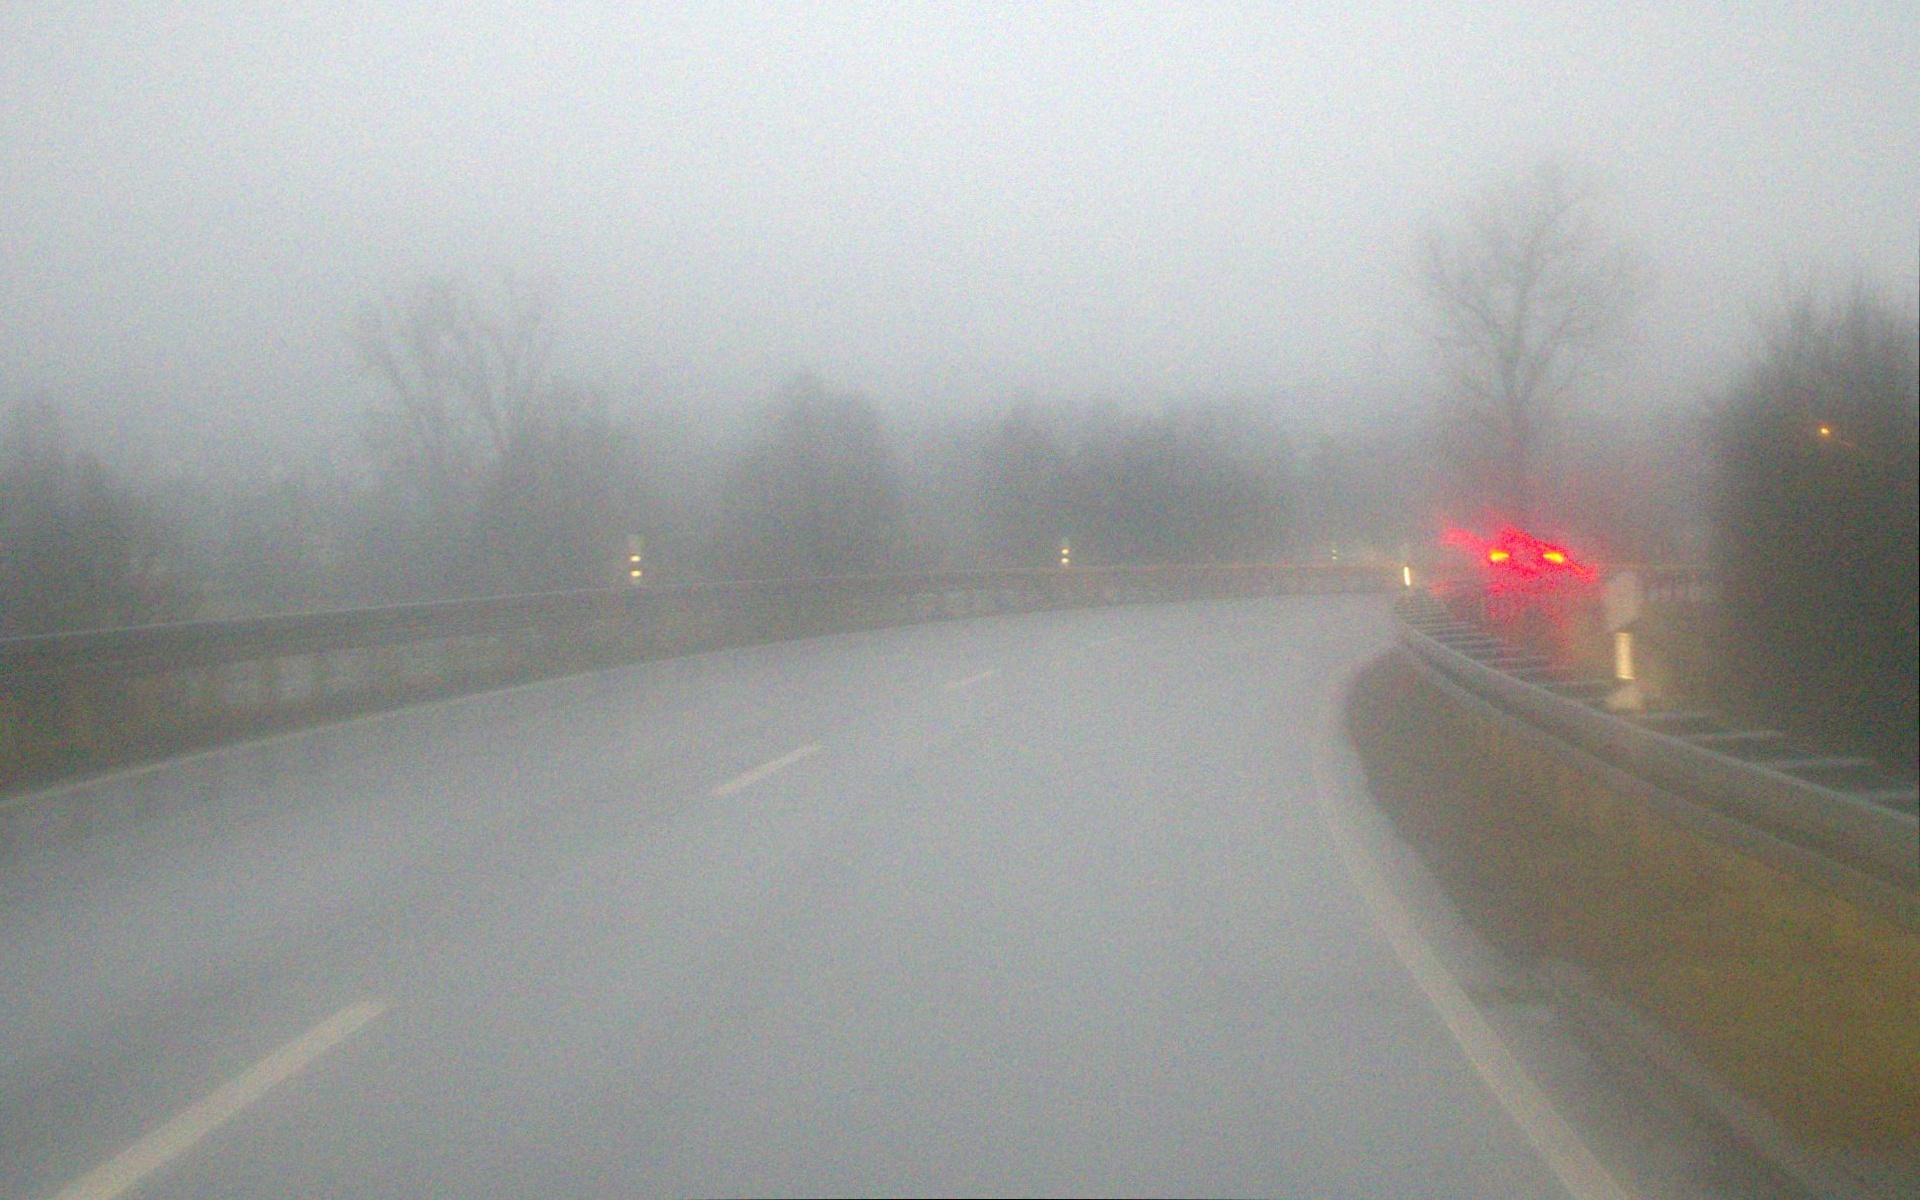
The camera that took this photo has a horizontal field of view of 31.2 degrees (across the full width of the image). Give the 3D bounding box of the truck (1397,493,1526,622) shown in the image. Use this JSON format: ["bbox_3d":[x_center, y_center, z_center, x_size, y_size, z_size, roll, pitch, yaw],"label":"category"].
[{"bbox_3d":[11.724,-1.034,80.082,2.533,2.859,5.919,1,2,12],"label":"truck"}]
